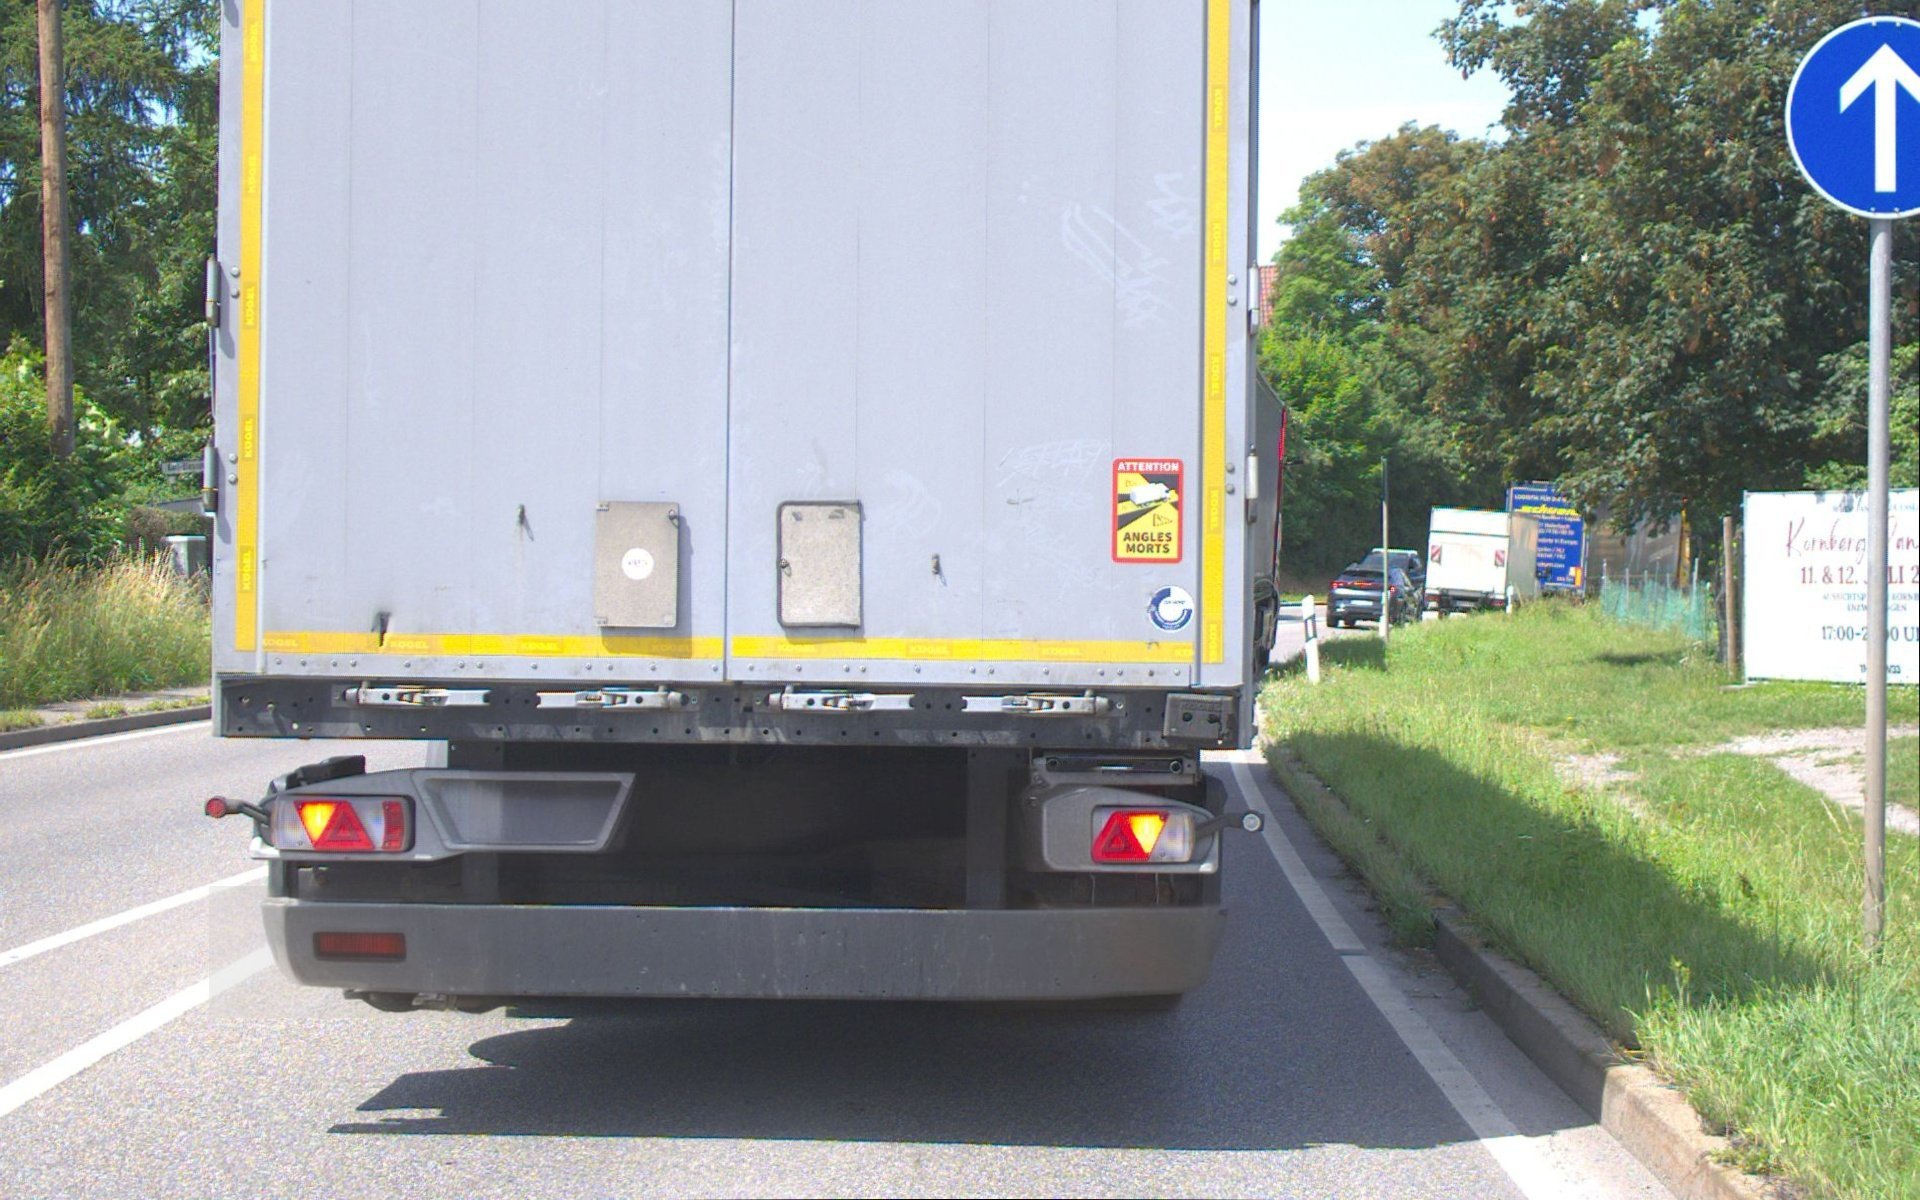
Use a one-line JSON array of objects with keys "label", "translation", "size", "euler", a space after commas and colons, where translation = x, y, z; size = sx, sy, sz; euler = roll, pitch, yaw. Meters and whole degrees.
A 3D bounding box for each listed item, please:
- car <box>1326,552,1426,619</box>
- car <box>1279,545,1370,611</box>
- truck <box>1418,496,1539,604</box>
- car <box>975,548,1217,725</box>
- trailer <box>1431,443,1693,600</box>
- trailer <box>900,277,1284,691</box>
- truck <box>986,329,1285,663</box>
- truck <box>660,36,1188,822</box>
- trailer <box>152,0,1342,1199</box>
[{"label": "car", "translation": [9.836, -0.362, 81.144], "size": [1.842, 1.481, 3.998], "euler": [1, 1, 14]}, {"label": "car", "translation": [10.572, -0.664, 99.542], "size": [1.995, 1.831, 3.997], "euler": [1, 2, 15]}, {"label": "truck", "translation": [14.093, -1.381, 93.150], "size": [2.422, 2.828, 5.408], "euler": [1, 2, 17]}, {"label": "car", "translation": [1.362, 0.296, 32.760], "size": [1.994, 1.525, 3.999], "euler": [0, 1, 7]}, {"label": "trailer", "translation": [19.367, -2.527, 109.186], "size": [5.185, 4.612, 15.879], "euler": [1, 2, 21]}, {"label": "trailer", "translation": [2.022, -1.372, 43.944], "size": [3.892, 4.505, 12.710], "euler": [0, 1, 7]}, {"label": "truck", "translation": [2.730, -1.479, 50.635], "size": [3.938, 4.559, 7.150], "euler": [0, 1, 7]}, {"label": "truck", "translation": [-0.001, -0.994, 21.353], "size": [2.746, 4.151, 6.142], "euler": [1, 1, 4]}, {"label": "trailer", "translation": [-0.307, -0.860, 14.122], "size": [2.787, 4.191, 12.111], "euler": [1, 2, 2]}]
